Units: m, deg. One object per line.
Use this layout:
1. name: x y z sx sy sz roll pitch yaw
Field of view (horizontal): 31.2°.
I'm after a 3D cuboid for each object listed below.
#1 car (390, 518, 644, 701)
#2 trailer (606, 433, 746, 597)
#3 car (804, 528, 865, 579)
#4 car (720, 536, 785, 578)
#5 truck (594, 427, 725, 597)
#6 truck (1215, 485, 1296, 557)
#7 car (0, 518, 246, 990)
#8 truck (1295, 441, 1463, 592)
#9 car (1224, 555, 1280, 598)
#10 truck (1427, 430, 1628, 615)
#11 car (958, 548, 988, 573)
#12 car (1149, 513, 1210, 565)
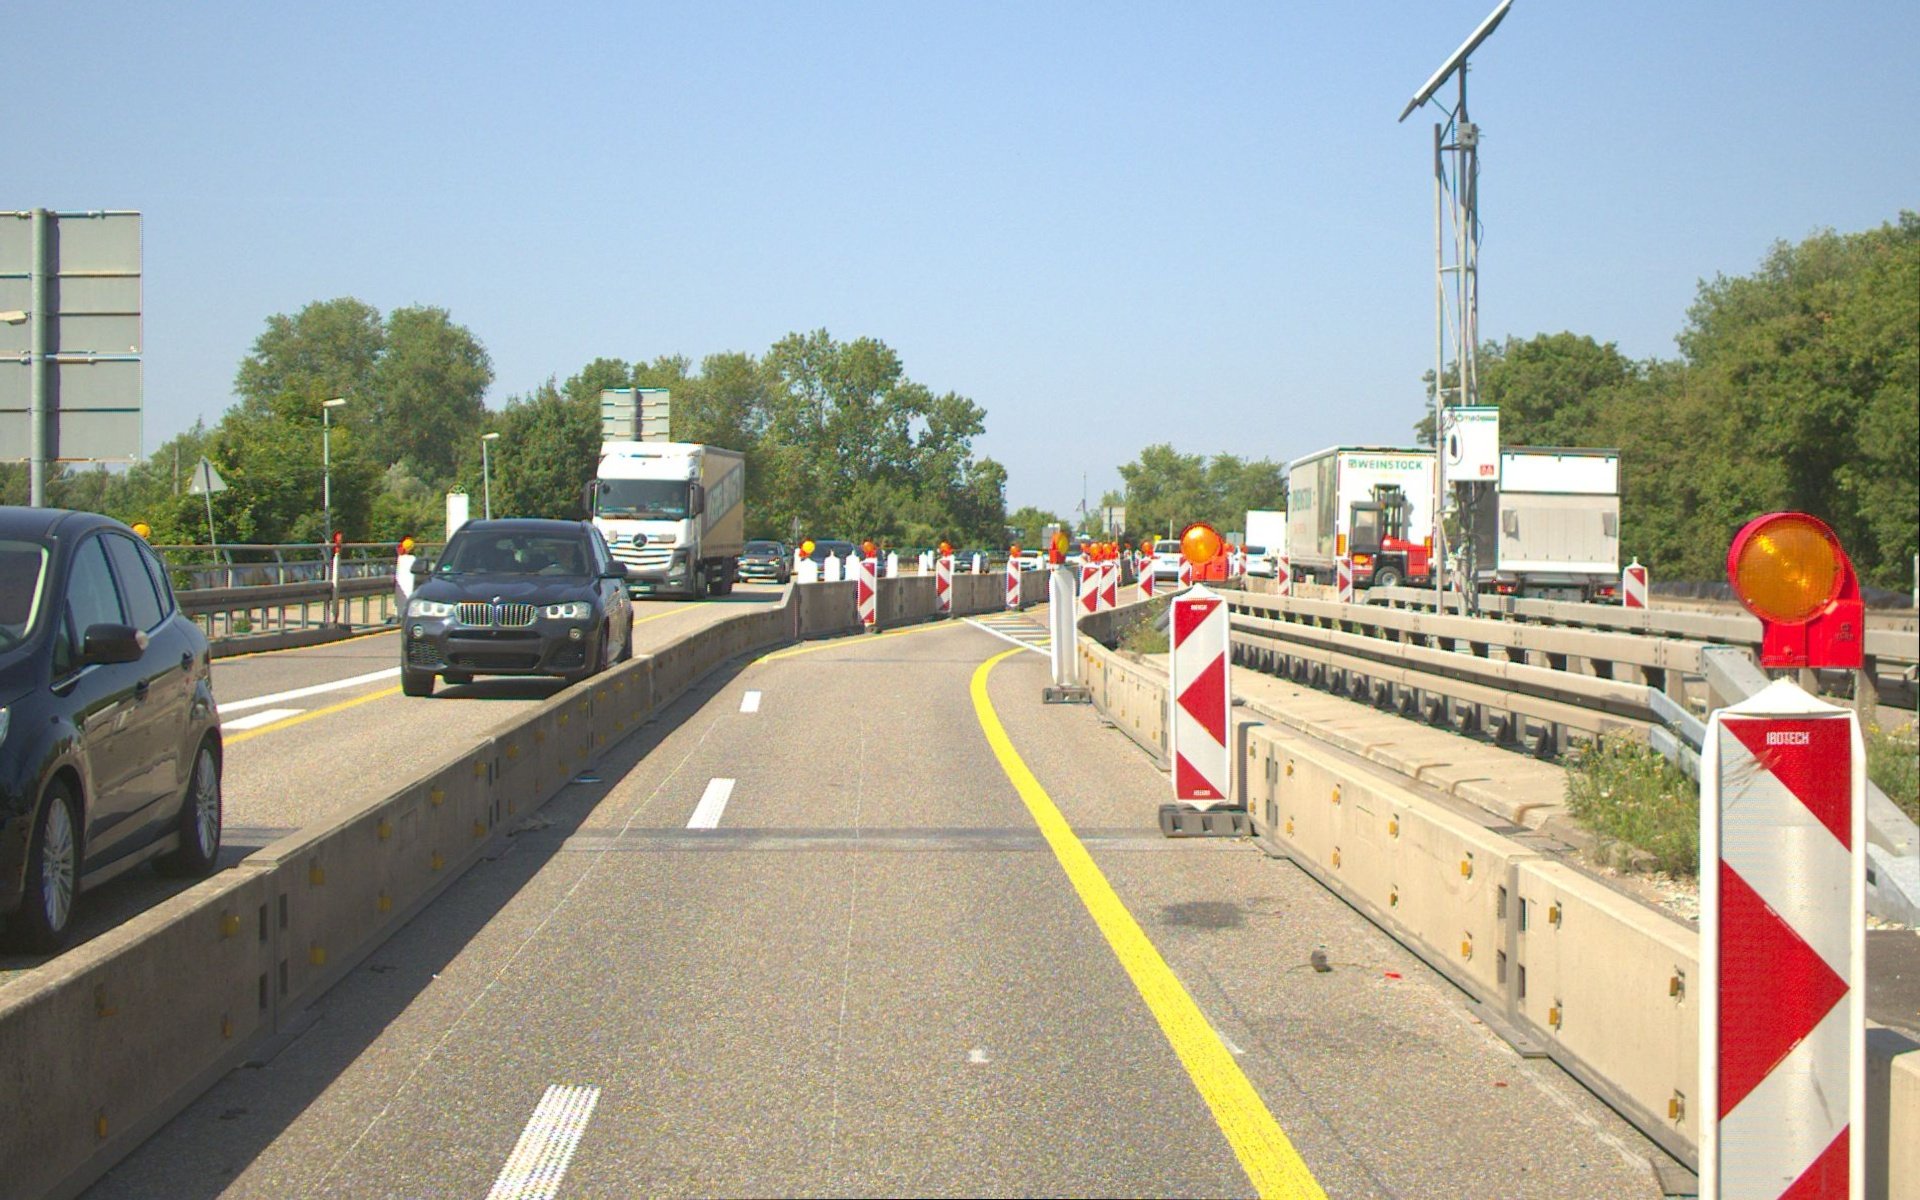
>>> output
1. car: -4.190 0.040 33.156 1.863 1.626 4.566 0 1 0
2. trailer: -7.616 -2.245 93.909 2.761 4.122 14.532 0 1 -1
3. car: -3.893 -1.454 106.960 1.790 1.563 3.873 0 1 -1
4. car: -7.473 -1.564 124.178 1.932 1.503 4.469 0 1 2
5. truck: -7.523 -2.189 86.738 2.749 4.122 6.416 0 1 0
6. truck: 18.049 -4.786 210.646 4.220 4.252 10.241 0 1 1
7. car: -4.008 0.463 13.225 1.738 1.546 3.943 0 1 -1
8. truck: 10.840 -2.147 89.716 3.388 3.761 7.233 0 1 -1
9. car: 12.545 -1.024 147.700 1.993 1.770 4.000 0 1 -1
10. truck: 11.059 -1.513 67.644 2.634 3.416 7.233 1 1 -1
11. car: 0.802 -2.409 207.969 1.737 1.471 4.645 0 1 2
12. car: 7.625 -2.107 119.731 1.816 1.770 4.000 0 1 -1
